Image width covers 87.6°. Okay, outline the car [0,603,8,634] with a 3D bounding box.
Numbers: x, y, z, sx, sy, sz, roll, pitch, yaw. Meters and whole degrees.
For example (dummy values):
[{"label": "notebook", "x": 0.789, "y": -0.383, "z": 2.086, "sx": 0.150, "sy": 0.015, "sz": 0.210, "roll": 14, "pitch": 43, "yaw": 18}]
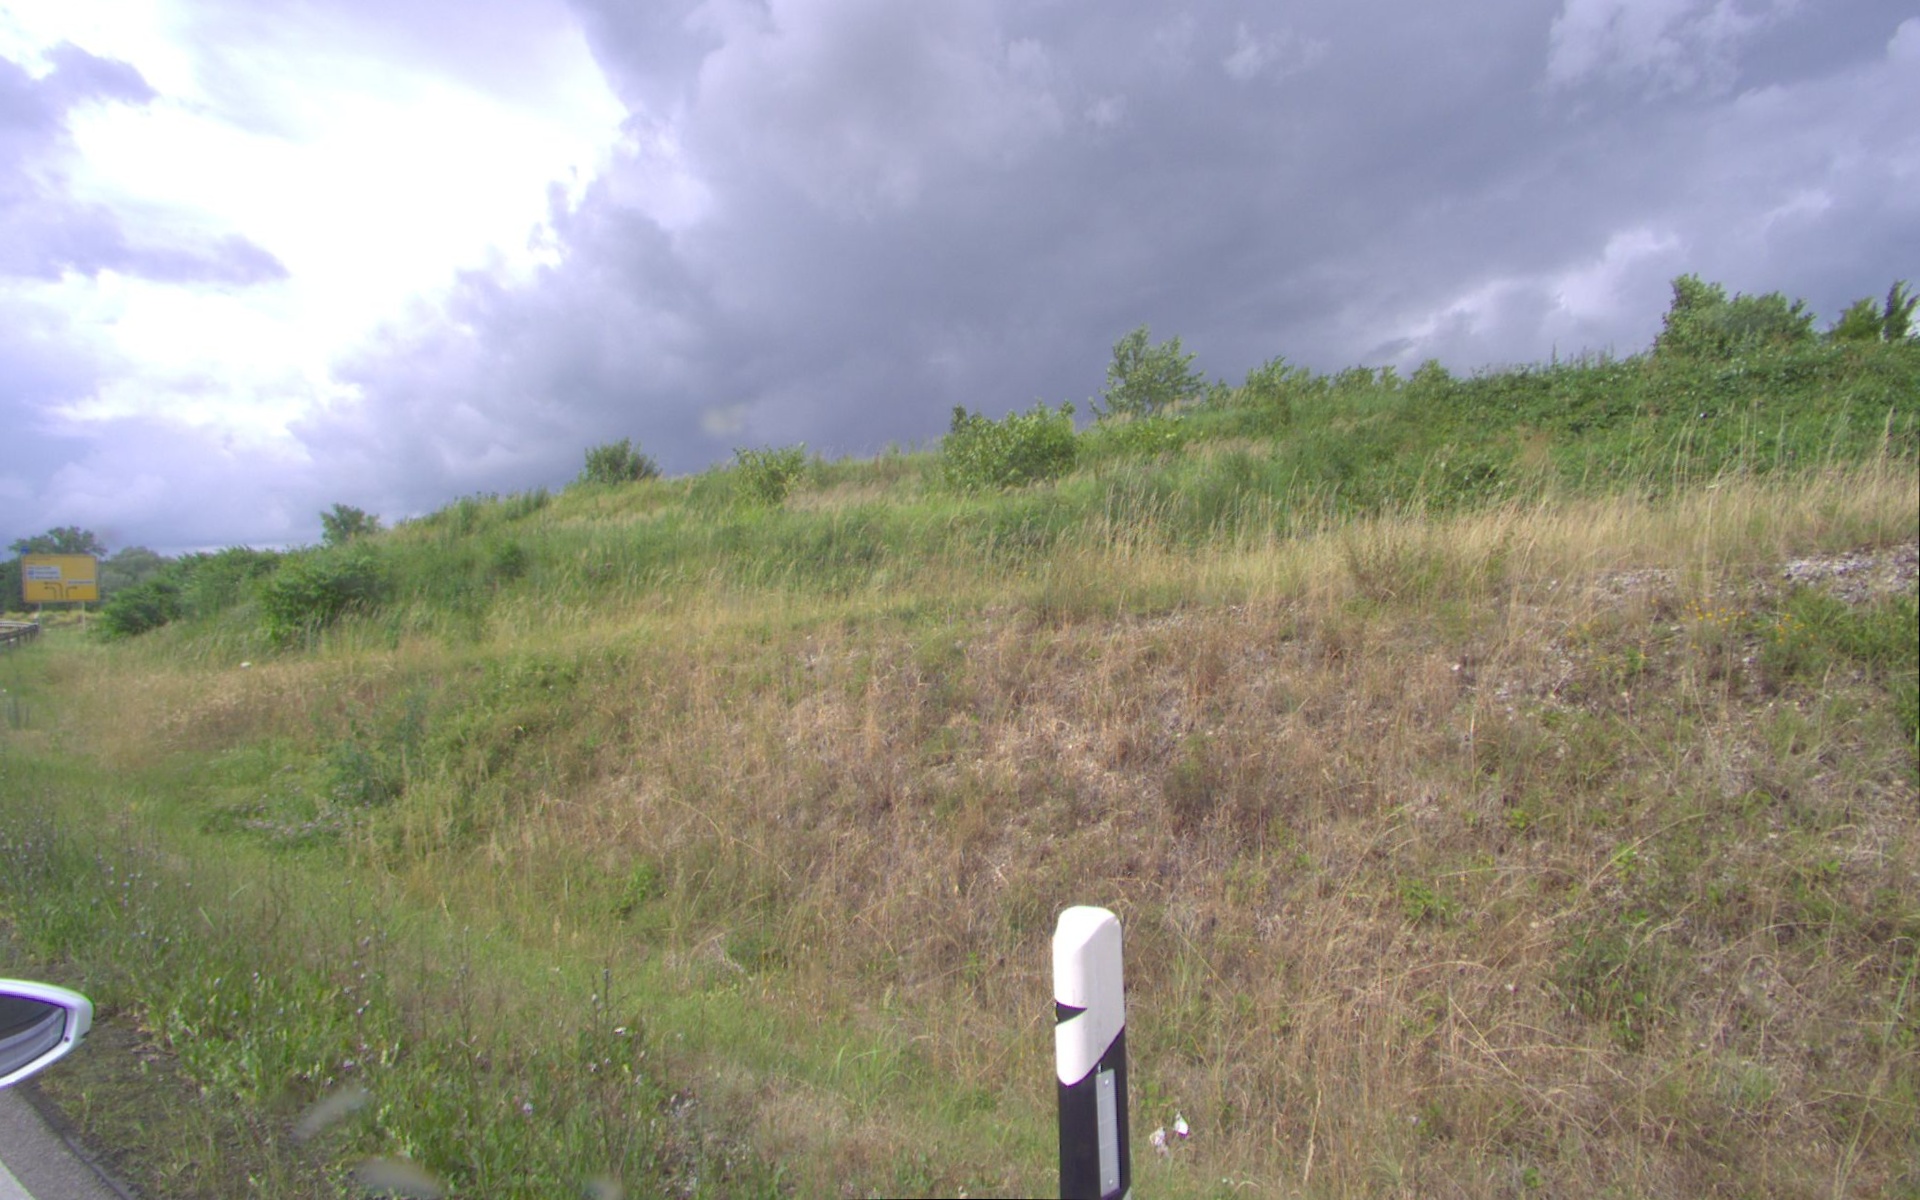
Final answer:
[{"label": "car", "x": -62.700, "y": 1.211, "z": 64.260, "sx": 4.448, "sy": 1.906, "sz": 2.083, "roll": -2, "pitch": -2, "yaw": 44}]
